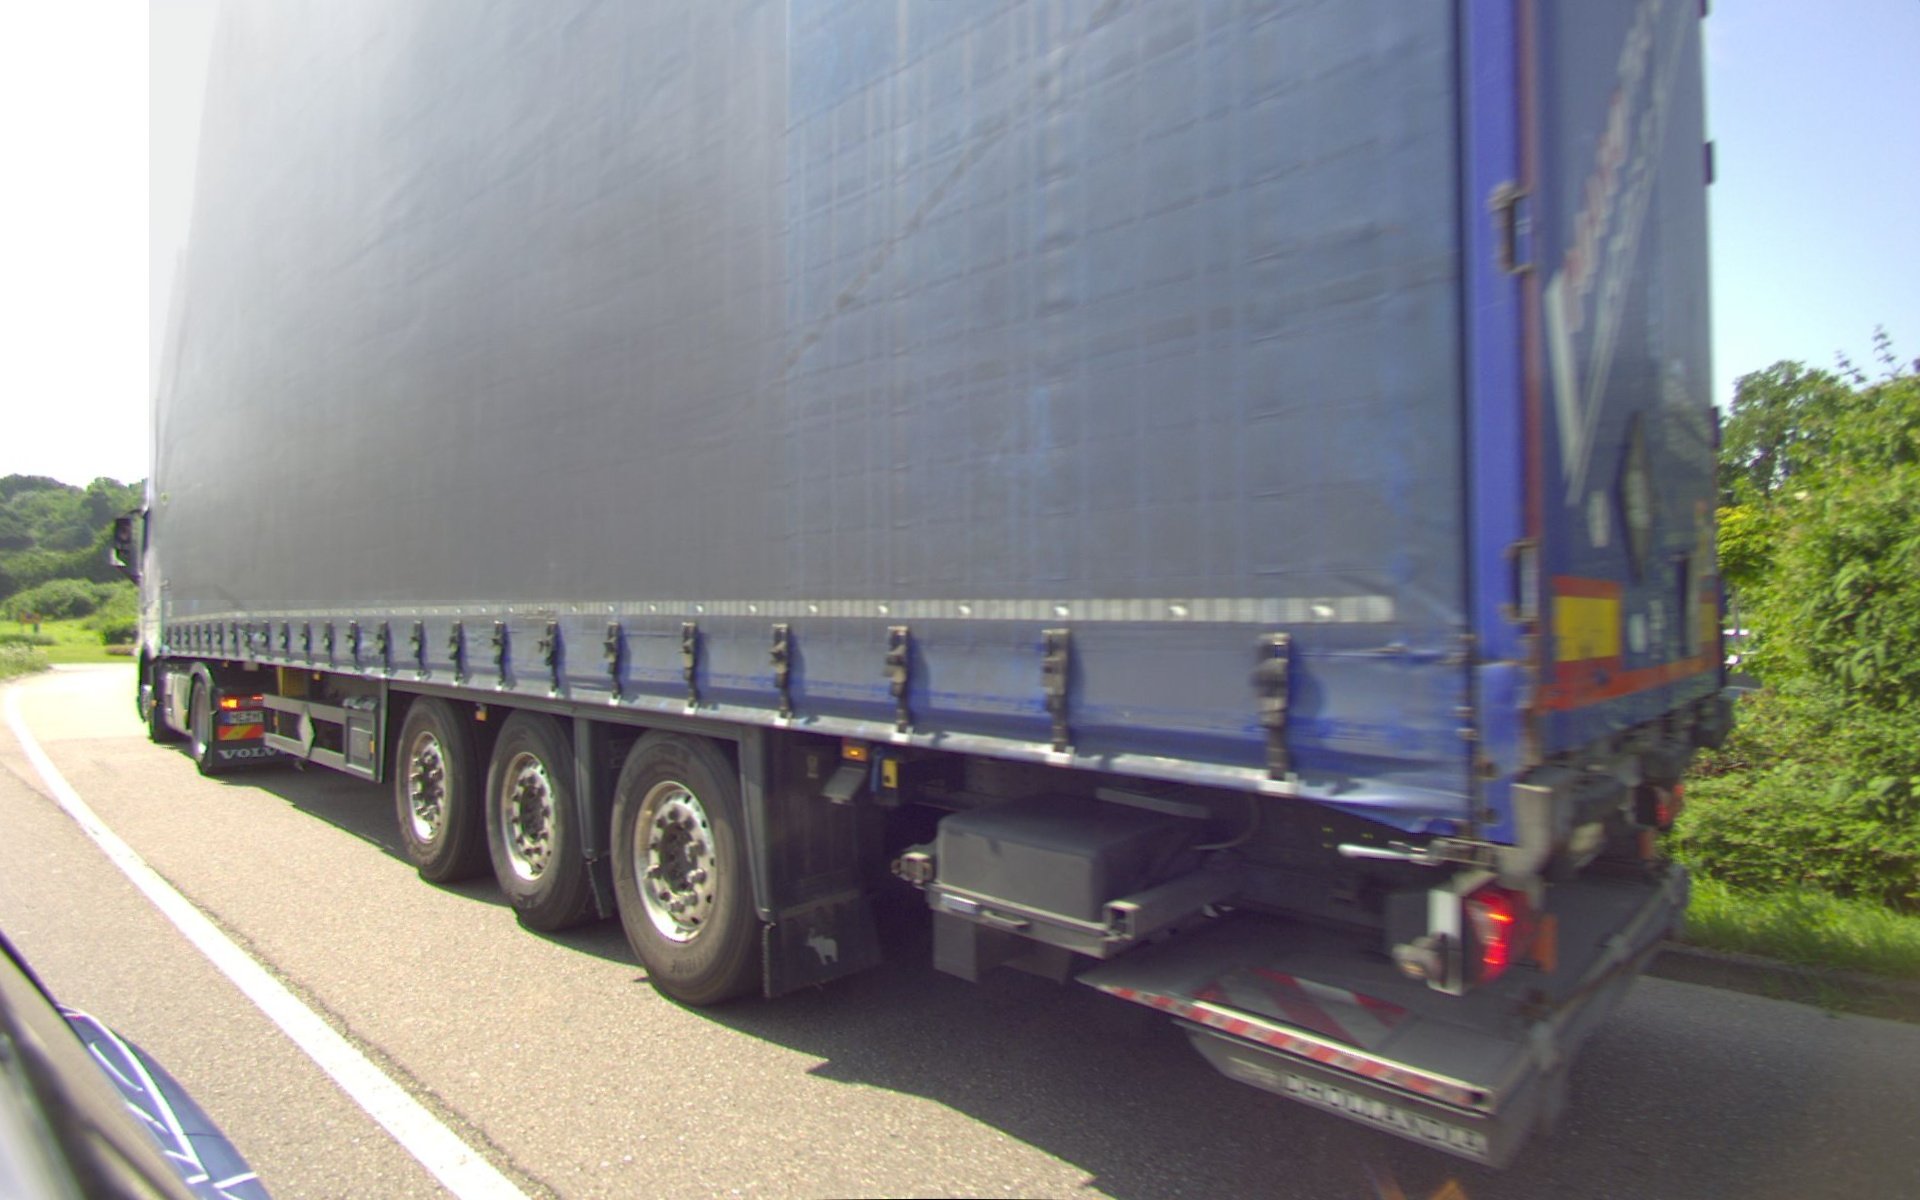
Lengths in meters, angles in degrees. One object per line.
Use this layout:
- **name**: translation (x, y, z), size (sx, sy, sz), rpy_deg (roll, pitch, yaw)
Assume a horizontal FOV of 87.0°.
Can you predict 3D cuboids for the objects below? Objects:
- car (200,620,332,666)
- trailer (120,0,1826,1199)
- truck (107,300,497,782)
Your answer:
- **car**: translation (-33.523, 2.050, 49.094), size (5.141, 1.952, 1.866), rpy_deg (-1, 0, -30)
- **trailer**: translation (-3.260, -0.613, 7.493), size (14.565, 4.273, 2.641), rpy_deg (-1, 0, 43)
- **truck**: translation (-8.029, -0.474, 12.009), size (6.113, 4.290, 2.485), rpy_deg (-1, -2, 43)
